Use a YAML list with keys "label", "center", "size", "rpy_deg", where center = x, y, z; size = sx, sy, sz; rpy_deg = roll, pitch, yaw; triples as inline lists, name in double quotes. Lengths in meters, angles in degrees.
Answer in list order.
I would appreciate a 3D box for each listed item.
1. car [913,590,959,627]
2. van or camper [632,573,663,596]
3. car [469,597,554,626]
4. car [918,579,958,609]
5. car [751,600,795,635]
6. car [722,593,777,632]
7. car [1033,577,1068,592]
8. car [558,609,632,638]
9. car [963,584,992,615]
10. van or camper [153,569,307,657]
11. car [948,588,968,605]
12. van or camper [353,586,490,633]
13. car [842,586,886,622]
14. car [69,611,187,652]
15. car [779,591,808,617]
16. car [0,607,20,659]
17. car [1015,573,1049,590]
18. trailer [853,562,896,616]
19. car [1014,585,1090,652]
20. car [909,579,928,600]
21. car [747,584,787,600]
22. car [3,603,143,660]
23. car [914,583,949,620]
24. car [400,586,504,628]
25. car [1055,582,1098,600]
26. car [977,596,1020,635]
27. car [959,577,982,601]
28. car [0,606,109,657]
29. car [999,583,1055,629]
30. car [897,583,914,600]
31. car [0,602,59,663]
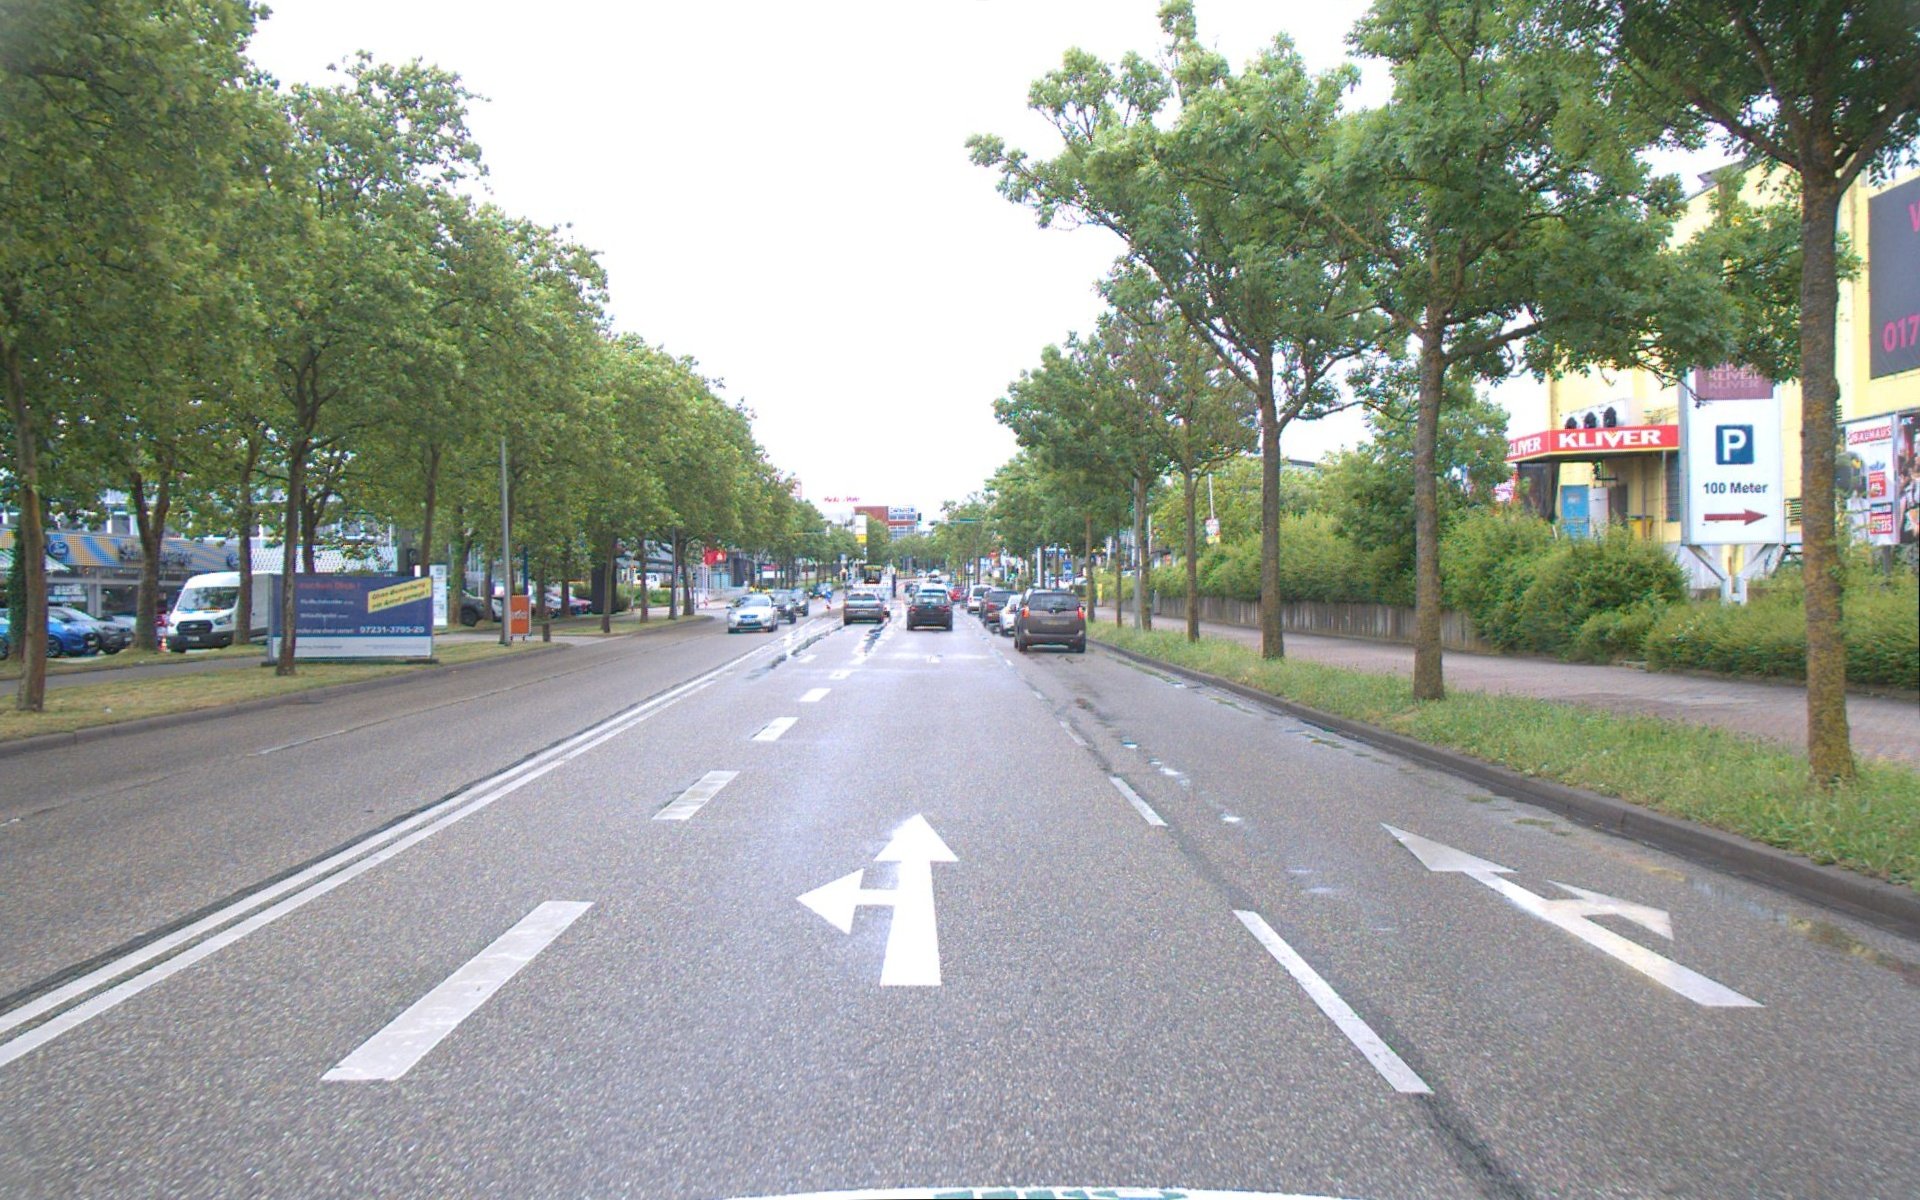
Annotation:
- label: "car"
  center: [-0.989, 0.316, 66.478]
  size: [1.746, 1.422, 3.999]
  rpy_deg: [0, 0, -2]
- label: "van or camper"
  center: [-28.557, -1.395, 151.234]
  size: [1.953, 2.001, 4.786]
  rpy_deg: [1, 0, -2]
- label: "car"
  center: [-25.845, 0.661, 95.292]
  size: [4.494, 1.624, 1.985]
  rpy_deg: [0, 0, -24]
- label: "car"
  center: [-1.103, -0.322, 80.987]
  size: [1.649, 1.401, 3.996]
  rpy_deg: [-1, 1, -5]
- label: "car"
  center: [-9.101, 0.837, 80.665]
  size: [1.727, 1.558, 3.857]
  rpy_deg: [-3, 0, -1]
- label: "car"
  center: [-8.365, 0.461, 66.144]
  size: [1.955, 1.454, 4.680]
  rpy_deg: [-2, 0, -5]
- label: "car"
  center: [9.506, -1.631, 172.898]
  size: [3.567, 1.562, 1.619]
  rpy_deg: [-2, 1, -41]
- label: "car"
  center: [-22.893, 1.457, 103.714]
  size: [4.165, 1.623, 1.984]
  rpy_deg: [-3, 1, -25]
- label: "car"
  center: [1.117, -0.027, 106.003]
  size: [1.745, 1.899, 4.000]
  rpy_deg: [-1, 0, 0]
- label: "van or camper"
  center: [-22.299, 0.350, 50.865]
  size: [1.953, 2.513, 6.400]
  rpy_deg: [0, 0, -1]
- label: "car"
  center: [-0.193, -0.318, 144.084]
  size: [1.661, 1.468, 3.988]
  rpy_deg: [-1, 0, -1]
- label: "van or camper"
  center: [-22.596, 0.378, 69.417]
  size: [5.220, 1.853, 2.247]
  rpy_deg: [-1, 0, -27]
- label: "car"
  center: [-4.571, 0.172, 79.285]
  size: [1.868, 1.606, 4.879]
  rpy_deg: [-1, 0, -1]
- label: "car"
  center: [-31.519, 1.188, 62.678]
  size: [3.811, 1.493, 1.601]
  rpy_deg: [-1, 0, 11]
- label: "car"
  center: [-10.134, 0.205, 100.407]
  size: [1.635, 1.487, 4.174]
  rpy_deg: [-2, 0, -7]
- label: "car"
  center: [-29.730, 0.991, 47.839]
  size: [3.904, 1.486, 2.034]
  rpy_deg: [-1, 0, 1]
- label: "car"
  center: [8.830, -2.297, 202.381]
  size: [4.026, 1.938, 1.800]
  rpy_deg: [-1, 1, 0]
- label: "trailer"
  center: [-4.858, -0.632, 94.473]
  size: [2.325, 2.947, 5.543]
  rpy_deg: [-1, 0, -3]
- label: "car"
  center: [2.409, 0.454, 44.219]
  size: [1.691, 1.652, 4.470]
  rpy_deg: [-1, 0, -1]
- label: "car"
  center: [-4.328, -1.094, 173.639]
  size: [1.953, 2.049, 3.999]
  rpy_deg: [1, 0, -1]
- label: "car"
  center: [-20.192, -0.831, 173.092]
  size: [3.916, 1.579, 1.895]
  rpy_deg: [-1, 1, 33]
- label: "car"
  center: [-29.764, 1.052, 55.510]
  size: [3.902, 1.797, 1.866]
  rpy_deg: [-1, 0, 15]
- label: "car"
  center: [-1.669, 0.093, 95.526]
  size: [1.953, 2.049, 3.999]
  rpy_deg: [1, 0, -2]
- label: "car"
  center: [-23.510, 0.316, 76.513]
  size: [4.396, 1.847, 1.985]
  rpy_deg: [-1, 0, -24]
- label: "car"
  center: [10.886, -0.848, 154.958]
  size: [1.896, 1.604, 4.266]
  rpy_deg: [-1, 1, 40]
- label: "car"
  center: [1.702, 0.652, 74.362]
  size: [1.764, 1.614, 4.450]
  rpy_deg: [1, 1, -1]
- label: "car"
  center: [0.748, -0.770, 120.570]
  size: [1.650, 1.713, 3.402]
  rpy_deg: [1, 0, -1]
- label: "car"
  center: [-29.588, 1.020, 52.942]
  size: [3.902, 1.547, 1.867]
  rpy_deg: [-1, 0, 13]
- label: "car"
  center: [2.402, 0.190, 60.159]
  size: [1.764, 1.571, 4.619]
  rpy_deg: [1, 0, -1]
- label: "car"
  center: [-6.496, -1.002, 198.206]
  size: [1.953, 2.049, 3.999]
  rpy_deg: [1, 0, -1]
- label: "car"
  center: [-29.780, 0.989, 50.327]
  size: [3.902, 1.797, 1.867]
  rpy_deg: [-1, 0, 14]
